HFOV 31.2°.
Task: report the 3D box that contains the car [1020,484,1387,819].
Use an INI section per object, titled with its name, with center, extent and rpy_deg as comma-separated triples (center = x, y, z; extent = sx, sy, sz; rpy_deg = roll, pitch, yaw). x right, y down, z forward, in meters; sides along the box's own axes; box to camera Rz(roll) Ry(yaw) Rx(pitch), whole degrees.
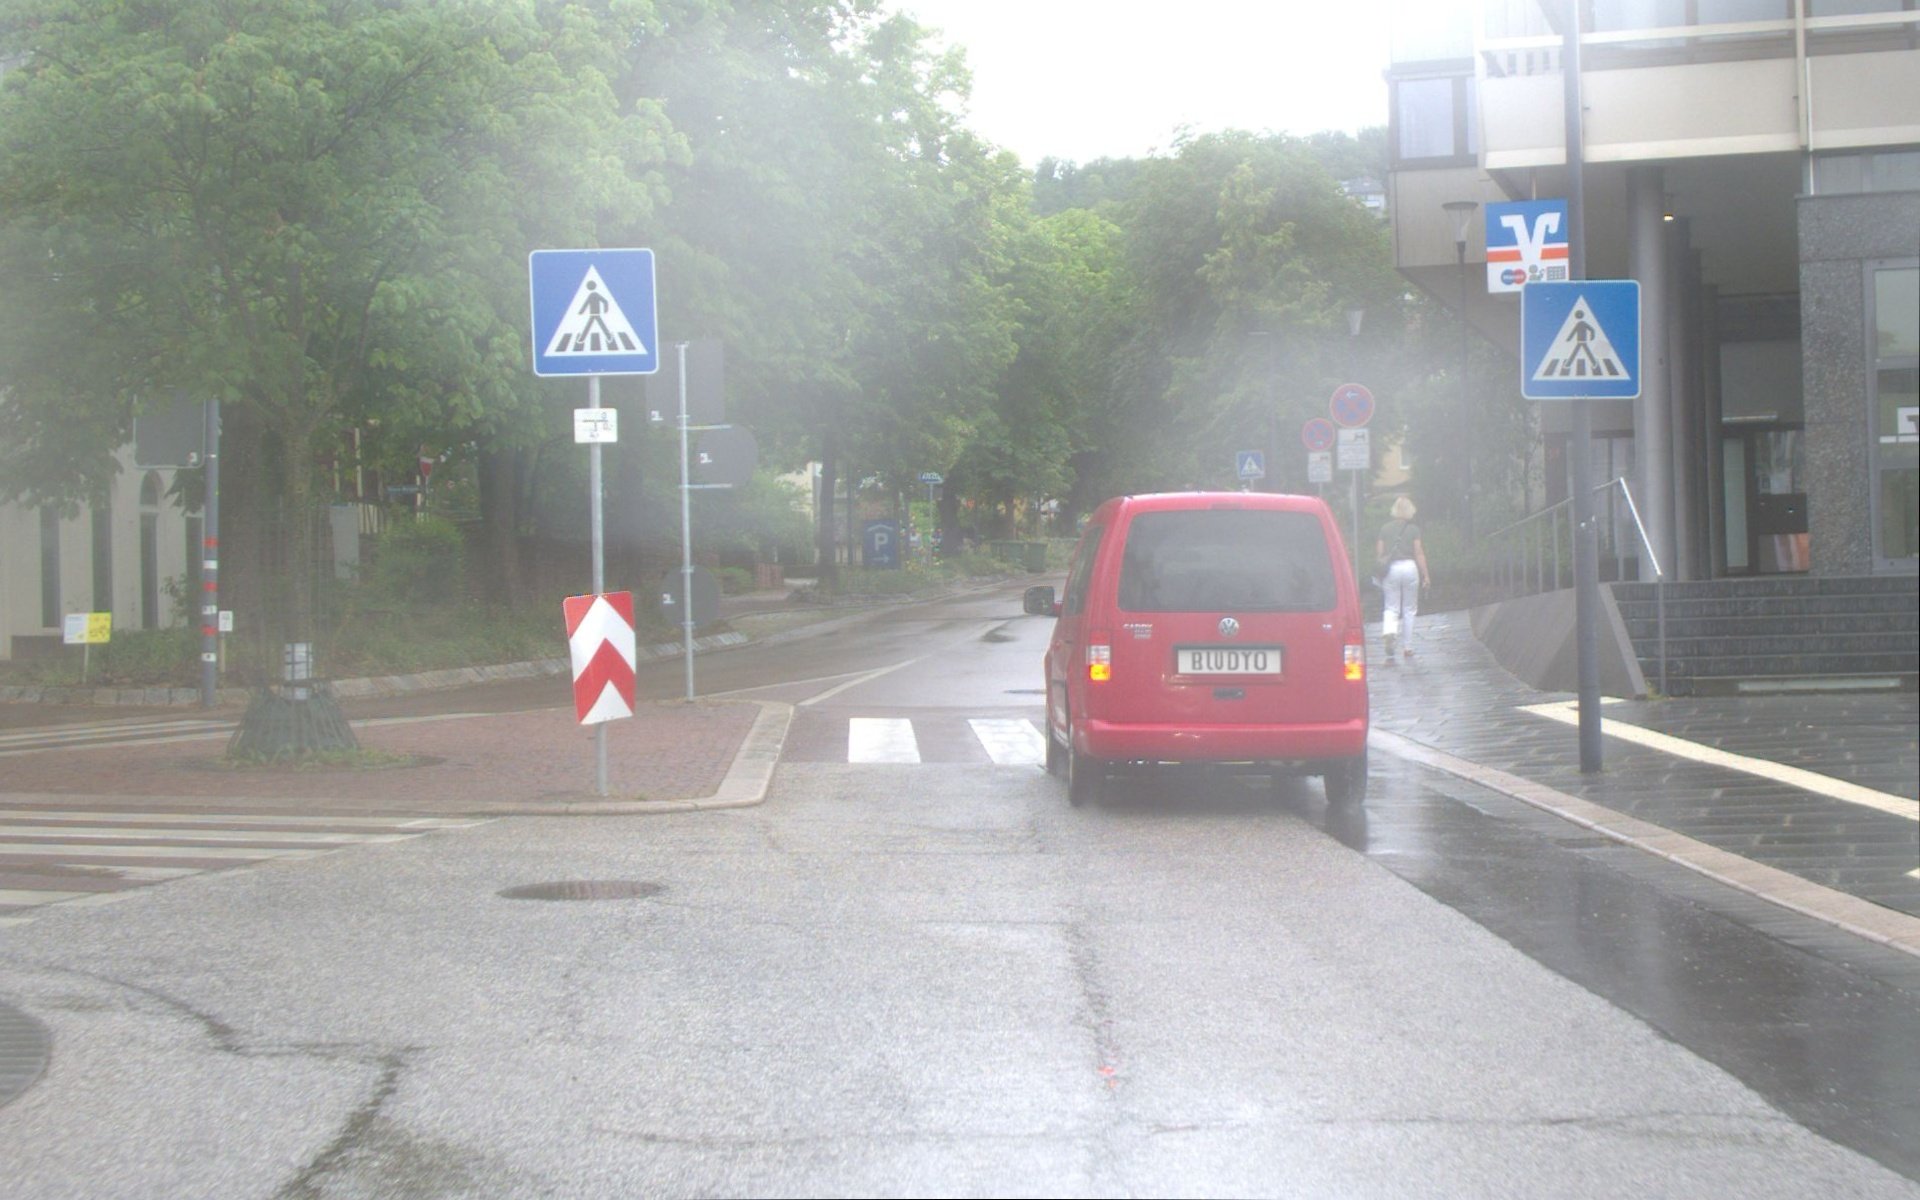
[car]
center = 1.396, 0.278, 21.266
extent = 1.862, 1.824, 4.185
rpy_deg = -1, 0, -1

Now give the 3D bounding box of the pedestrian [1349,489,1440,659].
[pedestrian]
center = 4.719, -0.288, 37.347
extent = 0.835, 1.824, 0.815
rpy_deg = 1, 1, 17
